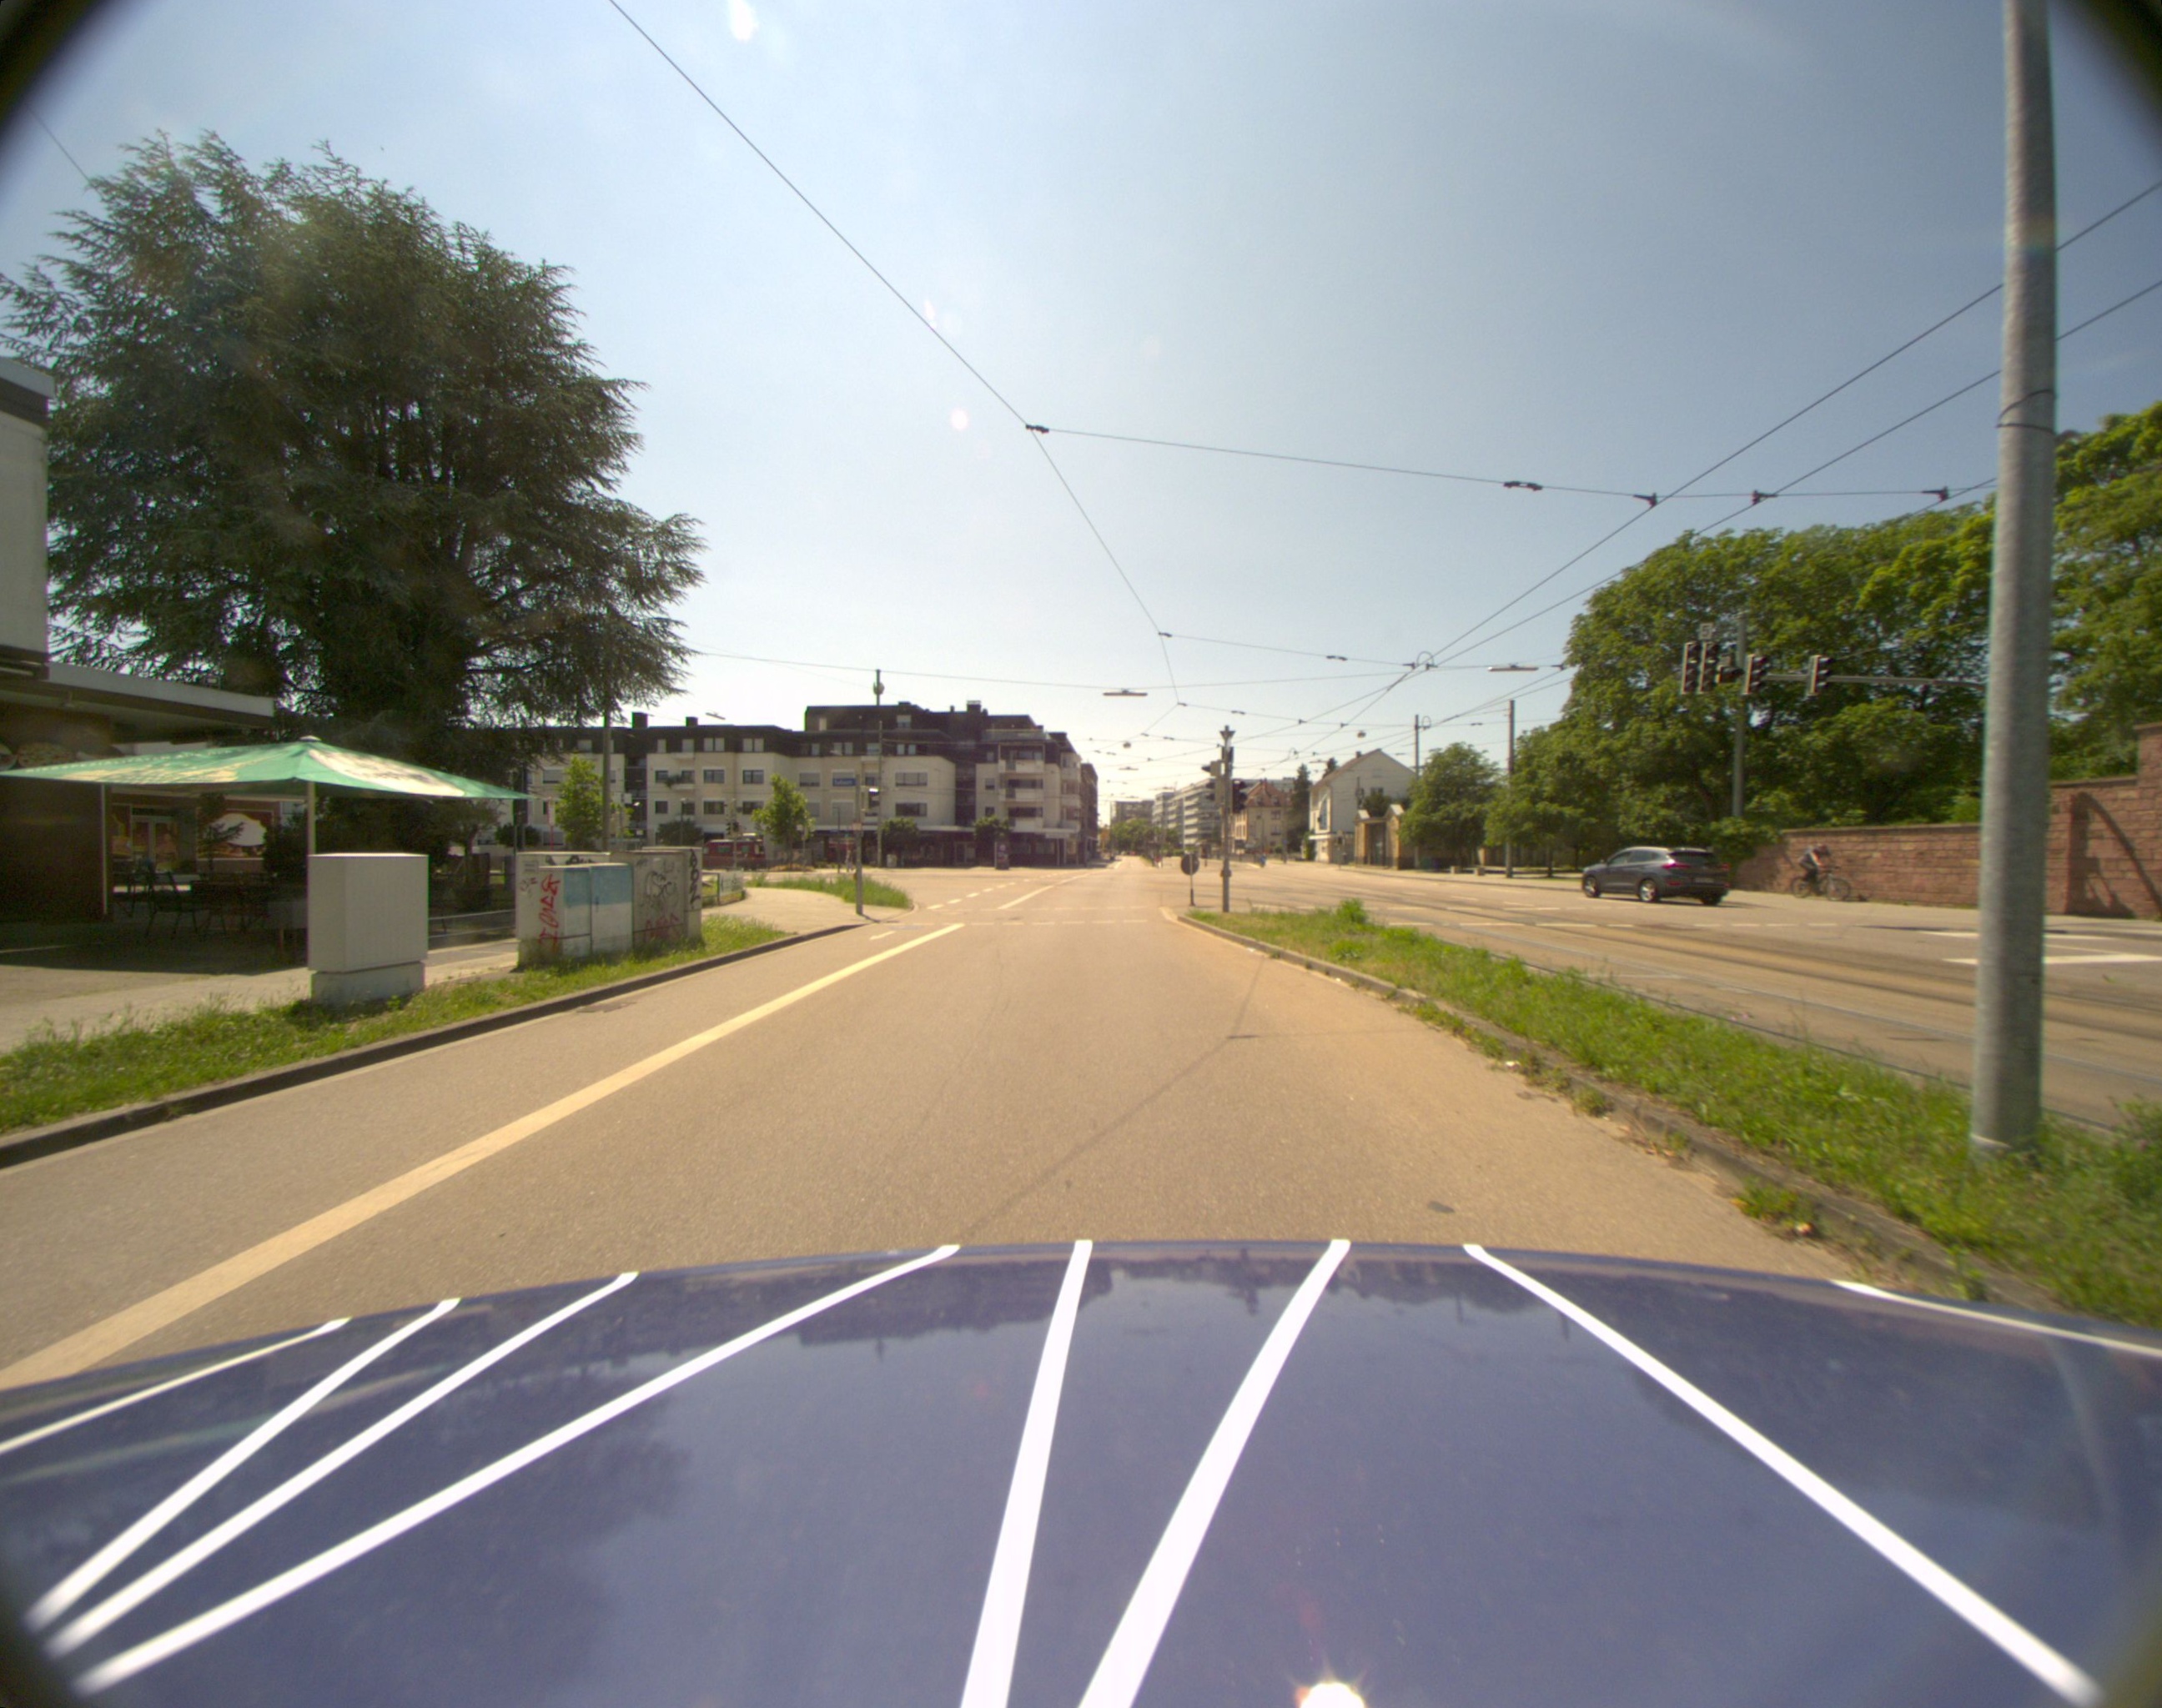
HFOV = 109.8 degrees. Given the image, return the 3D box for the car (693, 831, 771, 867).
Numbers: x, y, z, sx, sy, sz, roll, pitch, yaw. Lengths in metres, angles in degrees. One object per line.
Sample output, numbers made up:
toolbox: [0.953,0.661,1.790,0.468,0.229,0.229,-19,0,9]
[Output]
car: [-27.224,-0.375,59.421,5.201,2.712,2.001,0,1,3]

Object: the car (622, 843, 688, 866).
car: [-33.431,0.037,59.723,3.996,1.740,2.000,0,1,2]

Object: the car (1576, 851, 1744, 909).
car: [17.173,0.710,22.872,1.845,1.546,4.466,0,0,3]

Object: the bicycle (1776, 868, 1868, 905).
bicycle: [21.239,0.913,21.837,0.654,0.951,2.115,0,0,2]

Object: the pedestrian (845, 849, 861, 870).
pedestrian: [-17.079,0.407,56.899,0.806,1.615,0.944,0,1,10]

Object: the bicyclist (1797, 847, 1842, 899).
bicyclist: [21.244,0.540,21.859,0.654,1.488,0.662,0,1,2]
